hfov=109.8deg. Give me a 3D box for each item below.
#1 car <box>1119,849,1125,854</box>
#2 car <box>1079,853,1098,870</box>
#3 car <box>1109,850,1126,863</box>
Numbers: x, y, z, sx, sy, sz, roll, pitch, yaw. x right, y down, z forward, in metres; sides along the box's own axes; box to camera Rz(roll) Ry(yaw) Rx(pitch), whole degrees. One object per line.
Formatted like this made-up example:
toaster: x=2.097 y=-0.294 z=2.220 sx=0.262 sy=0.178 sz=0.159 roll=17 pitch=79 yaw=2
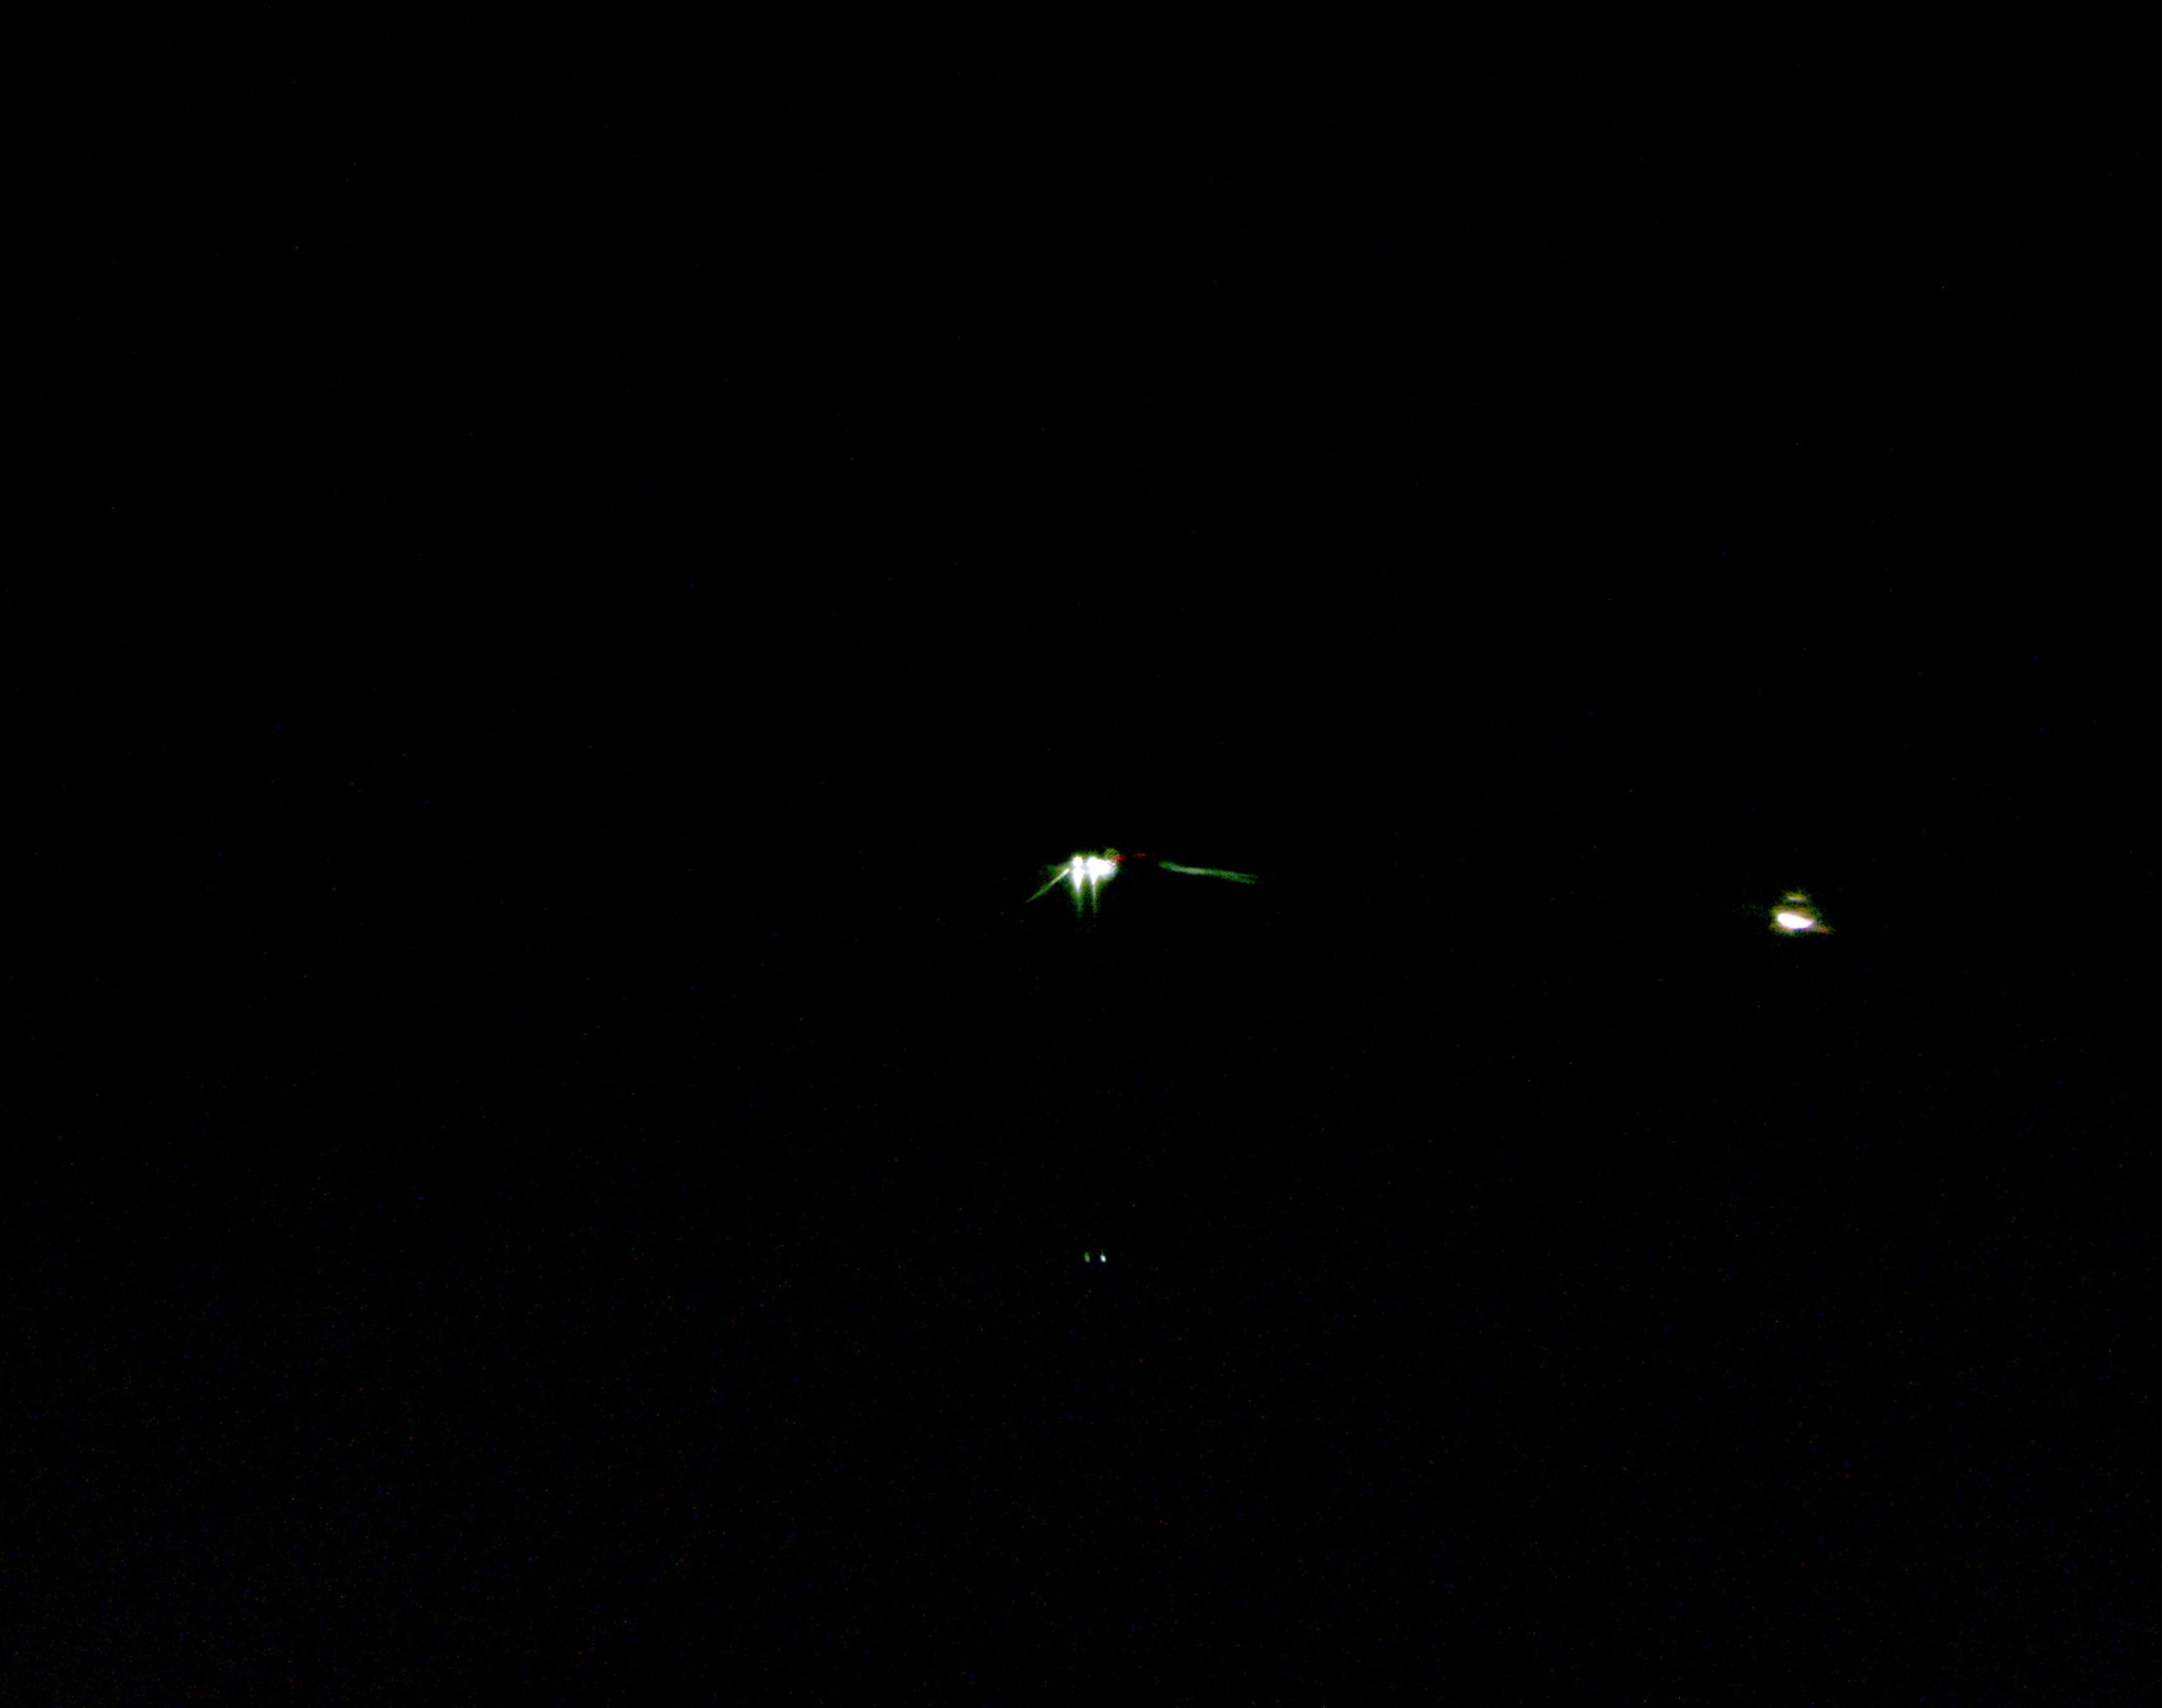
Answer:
car: x=11.729 y=-0.744 z=217.444 sx=1.834 sy=1.559 sz=3.780 roll=0 pitch=1 yaw=2
car: x=0.850 y=0.802 z=84.032 sx=1.998 sy=1.724 sz=4.000 roll=2 pitch=1 yaw=2
car: x=4.754 y=0.262 z=99.935 sx=2.102 sy=1.630 sz=4.455 roll=0 pitch=1 yaw=1
